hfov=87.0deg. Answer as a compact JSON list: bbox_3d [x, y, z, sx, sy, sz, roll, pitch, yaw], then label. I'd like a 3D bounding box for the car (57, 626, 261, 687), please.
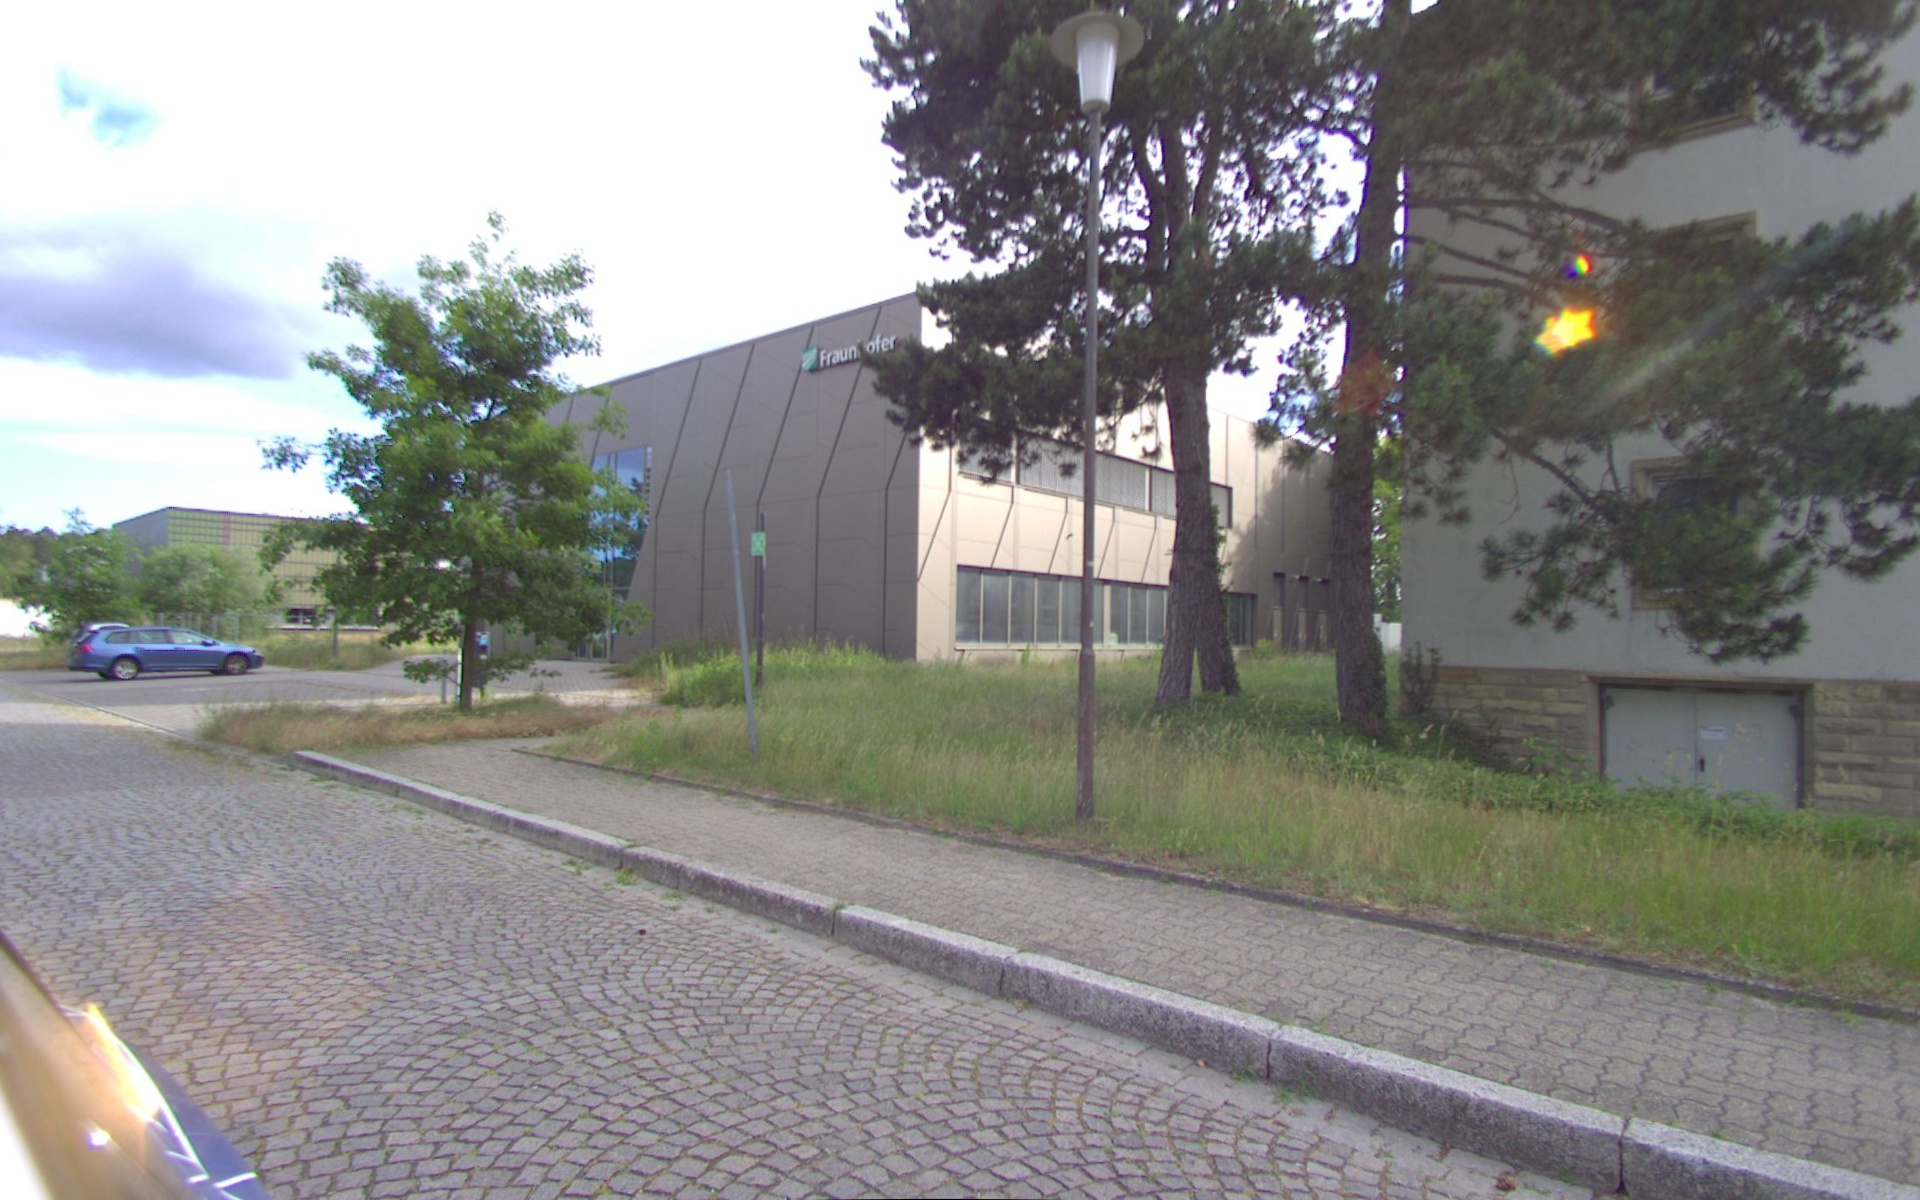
[{"bbox_3d":[-22.969,1.558,29.181,1.715,1.522,4.350,-1,0,38],"label":"car"}]

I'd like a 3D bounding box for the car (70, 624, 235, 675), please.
[{"bbox_3d":[-27.721,1.655,34.832,4.339,1.557,1.843,0,-1,-43],"label":"car"}]
